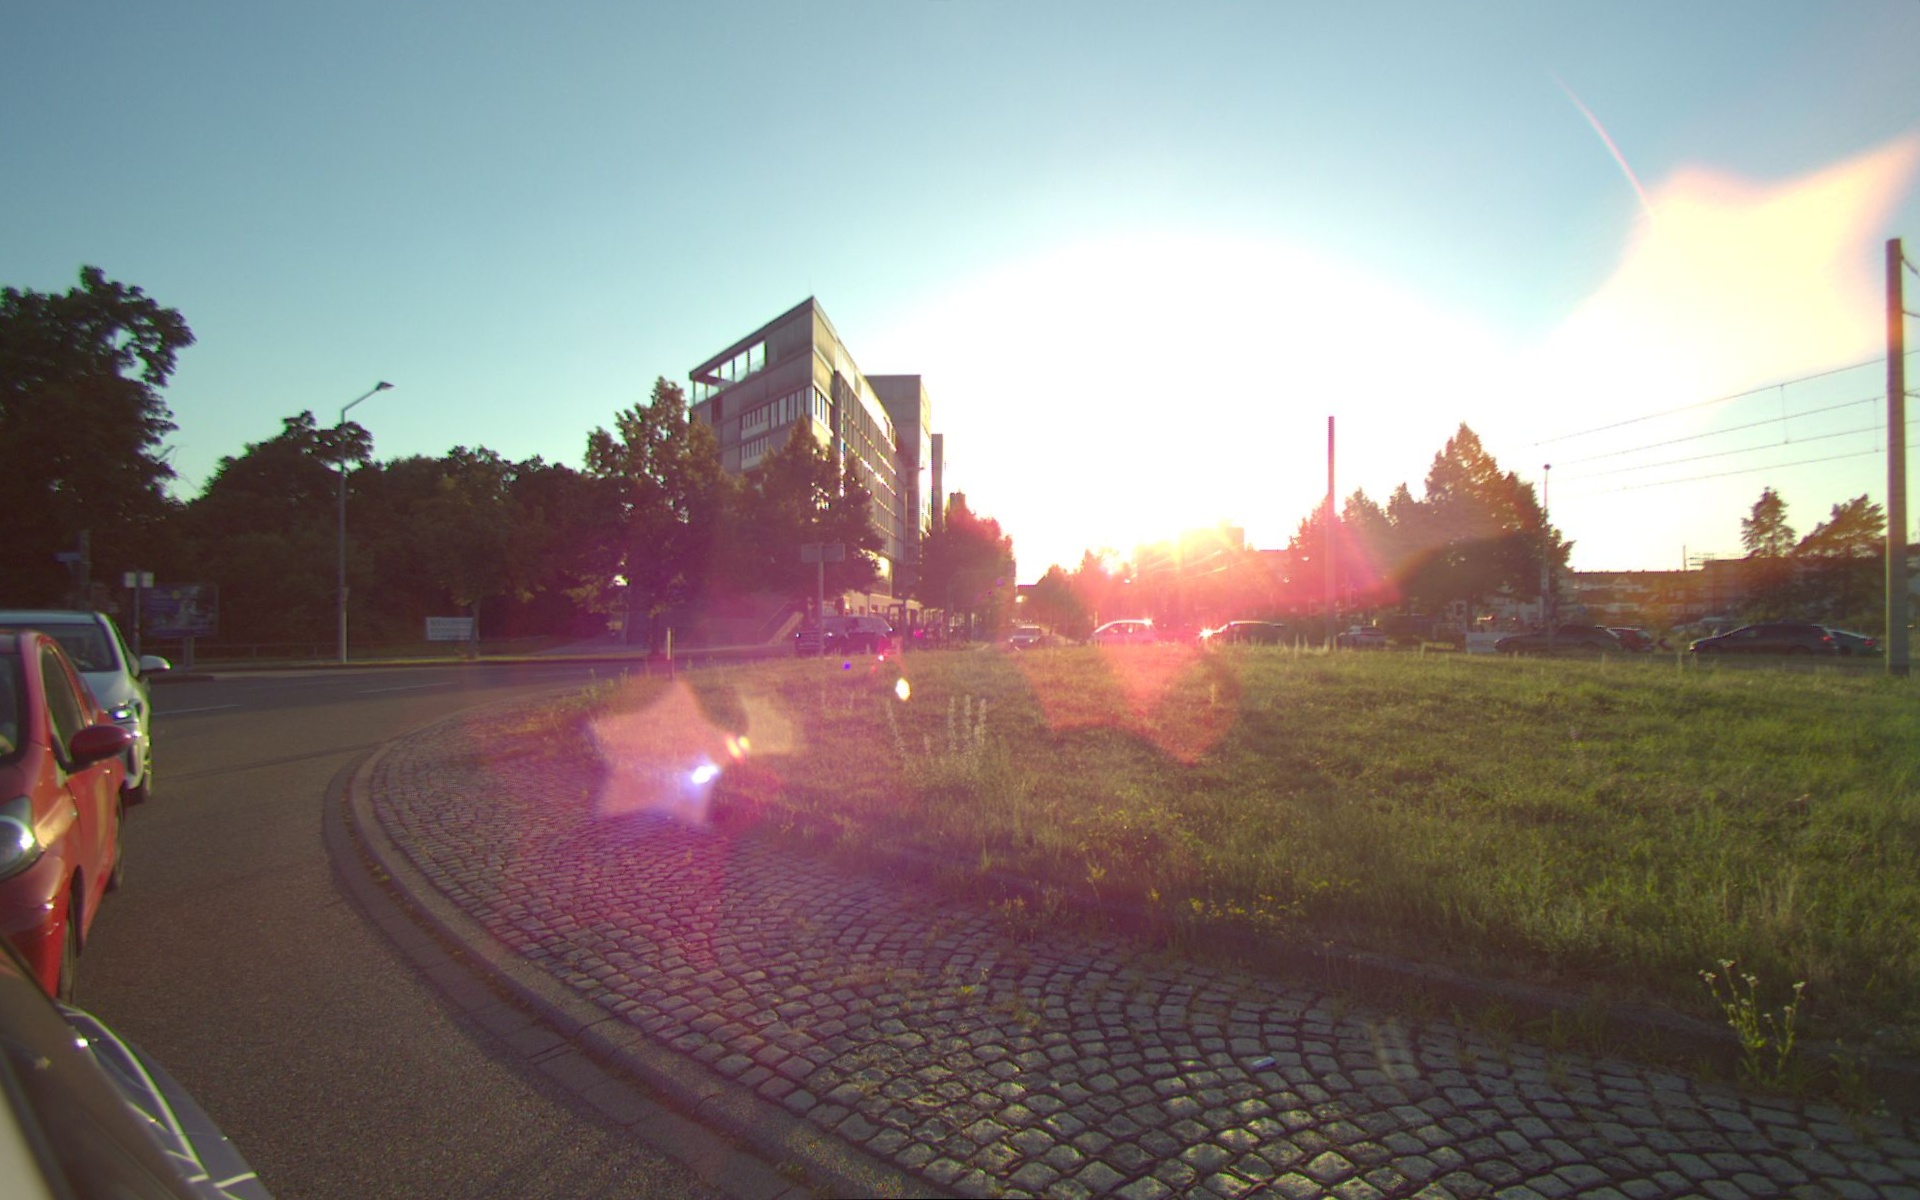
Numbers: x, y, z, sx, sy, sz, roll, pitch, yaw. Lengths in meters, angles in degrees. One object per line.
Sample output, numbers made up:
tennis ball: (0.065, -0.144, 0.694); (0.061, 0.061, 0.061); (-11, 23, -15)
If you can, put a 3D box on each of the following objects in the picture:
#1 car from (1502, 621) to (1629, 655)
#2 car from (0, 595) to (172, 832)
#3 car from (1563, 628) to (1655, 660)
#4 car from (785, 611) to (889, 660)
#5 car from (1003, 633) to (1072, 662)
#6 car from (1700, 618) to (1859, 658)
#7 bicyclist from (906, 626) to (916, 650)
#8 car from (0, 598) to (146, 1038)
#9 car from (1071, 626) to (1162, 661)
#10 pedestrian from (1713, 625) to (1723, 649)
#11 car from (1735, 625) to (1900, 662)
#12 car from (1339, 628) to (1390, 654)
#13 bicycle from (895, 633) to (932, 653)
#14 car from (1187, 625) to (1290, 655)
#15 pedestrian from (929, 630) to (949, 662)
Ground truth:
car: (25.733, 1.595, 43.101); (4.351, 1.386, 1.972); (-1, -2, 42)
car: (-7.977, 0.816, 8.509); (1.968, 1.618, 4.205); (1, -2, -40)
car: (32.217, 2.157, 50.273); (1.616, 1.511, 3.497); (1, -1, -38)
car: (-4.836, 1.435, 40.730); (1.985, 1.827, 5.270); (-2, -3, 20)
car: (4.560, 2.710, 58.849); (1.831, 1.571, 4.509); (-1, -2, 38)
car: (30.636, 1.384, 37.916); (1.969, 1.386, 4.389); (1, -2, -42)
bicyclist: (-3.066, 2.354, 62.985); (0.602, 1.451, 0.692); (0, -1, -2)
car: (-4.849, 0.746, 4.526); (1.662, 1.431, 4.009); (1, -2, -36)
car: (7.347, 2.041, 47.709); (3.831, 1.592, 1.958); (0, -1, -7)
pedestrian: (42.310, 2.046, 56.500); (0.397, 1.318, 0.423); (-1, -2, 41)
car: (34.727, 1.730, 41.133); (1.967, 1.382, 4.747); (1, -1, -35)
car: (28.331, 2.831, 71.038); (1.975, 1.719, 4.708); (0, -1, 5)
bicycle: (-2.886, 2.678, 62.963); (2.315, 1.254, 0.742); (0, -1, 0)
car: (13.173, 1.892, 48.077); (4.325, 1.386, 1.999); (0, -1, 2)
pedestrian: (-1.318, 2.916, 64.578); (0.995, 2.029, 0.768); (-1, 0, 29)
